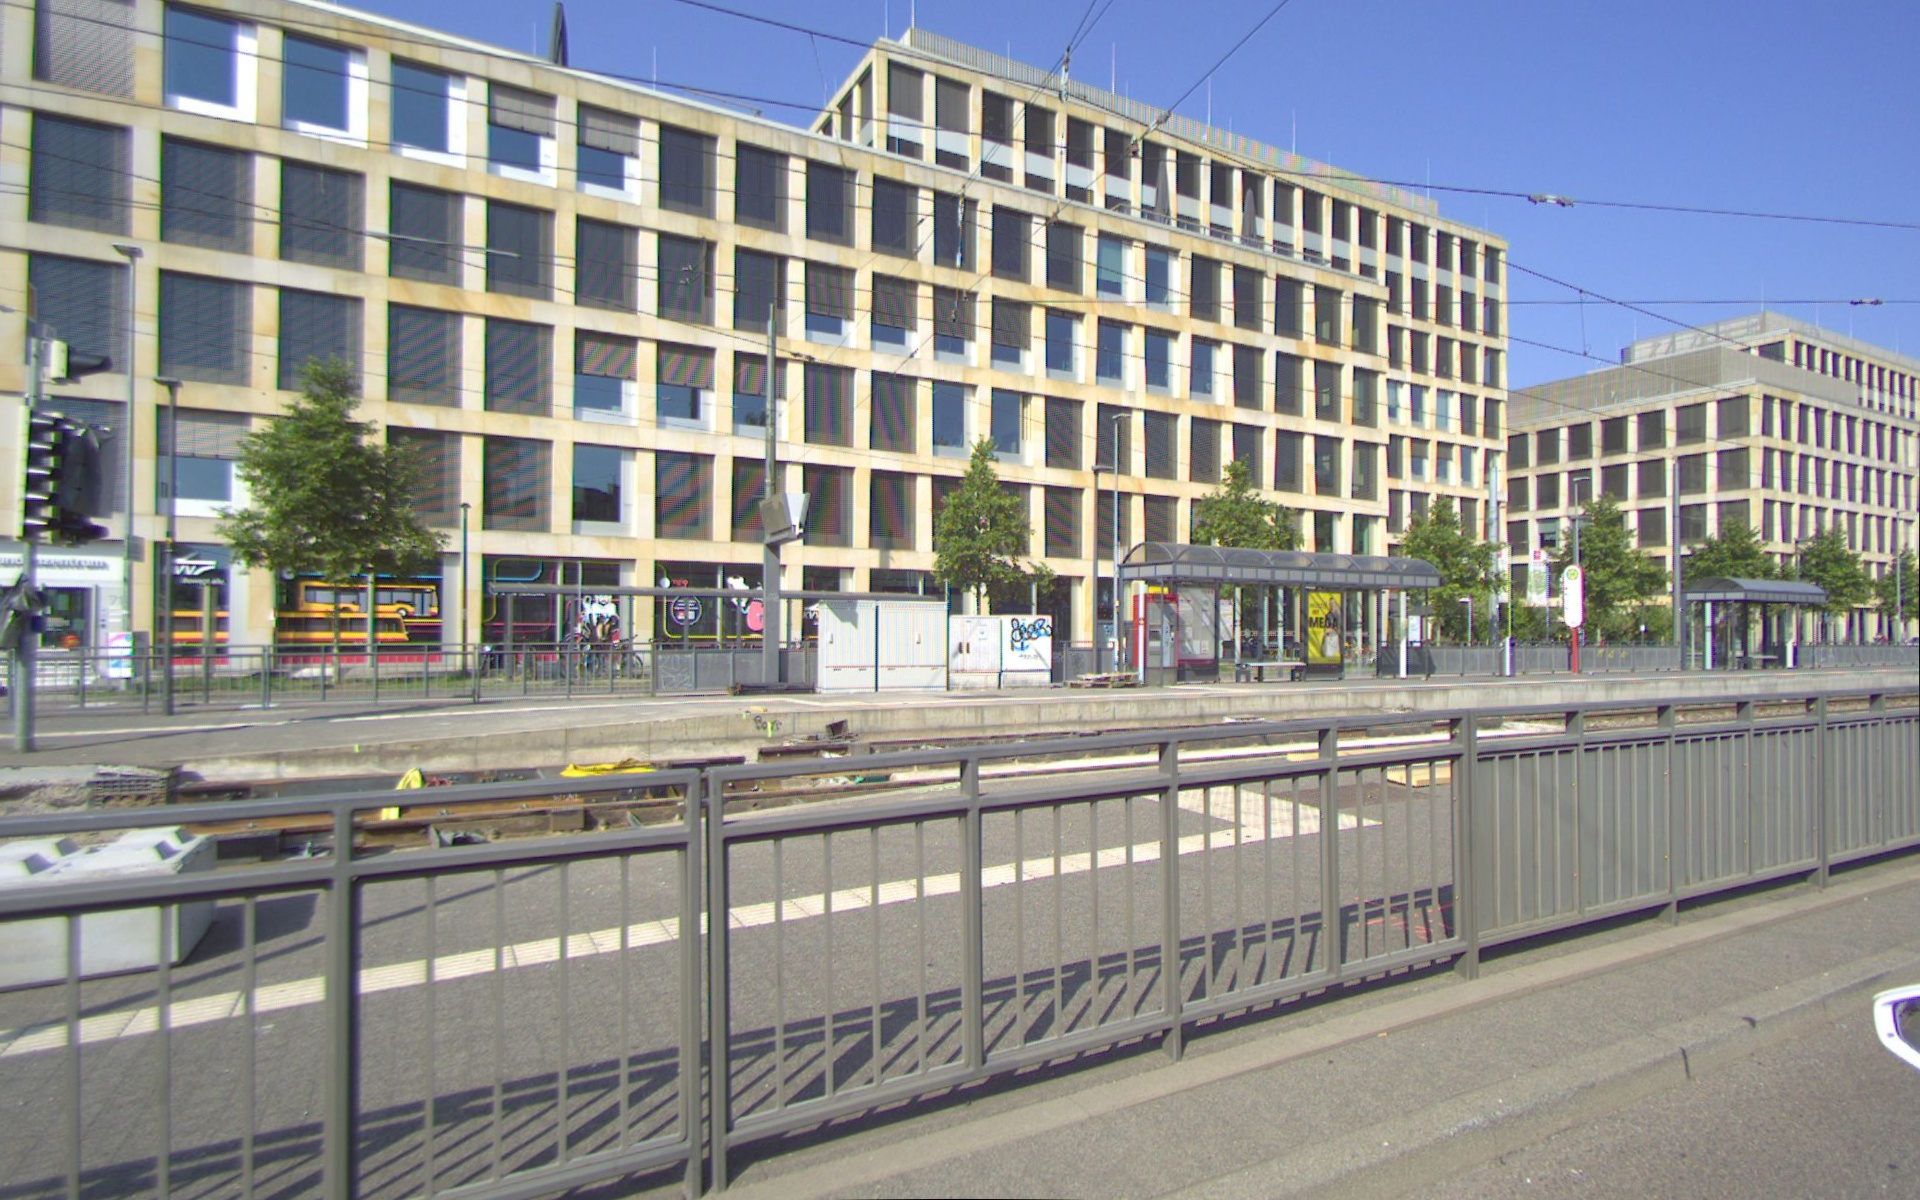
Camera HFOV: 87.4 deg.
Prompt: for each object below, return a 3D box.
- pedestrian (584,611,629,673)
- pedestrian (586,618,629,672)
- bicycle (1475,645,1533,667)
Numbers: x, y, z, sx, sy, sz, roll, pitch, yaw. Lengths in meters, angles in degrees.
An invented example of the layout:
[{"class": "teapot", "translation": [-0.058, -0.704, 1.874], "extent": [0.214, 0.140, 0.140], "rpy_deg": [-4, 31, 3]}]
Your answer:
[{"class": "pedestrian", "translation": [-10.522, 1.244, 29.870], "extent": [1.110, 1.775, 0.972], "rpy_deg": [1, -2, -29]}, {"class": "pedestrian", "translation": [-10.888, 1.381, 31.011], "extent": [1.110, 1.618, 0.972], "rpy_deg": [1, -2, -29]}, {"class": "bicycle", "translation": [26.413, 2.710, 48.830], "extent": [0.812, 0.999, 2.422], "rpy_deg": [1, -2, -29]}]
